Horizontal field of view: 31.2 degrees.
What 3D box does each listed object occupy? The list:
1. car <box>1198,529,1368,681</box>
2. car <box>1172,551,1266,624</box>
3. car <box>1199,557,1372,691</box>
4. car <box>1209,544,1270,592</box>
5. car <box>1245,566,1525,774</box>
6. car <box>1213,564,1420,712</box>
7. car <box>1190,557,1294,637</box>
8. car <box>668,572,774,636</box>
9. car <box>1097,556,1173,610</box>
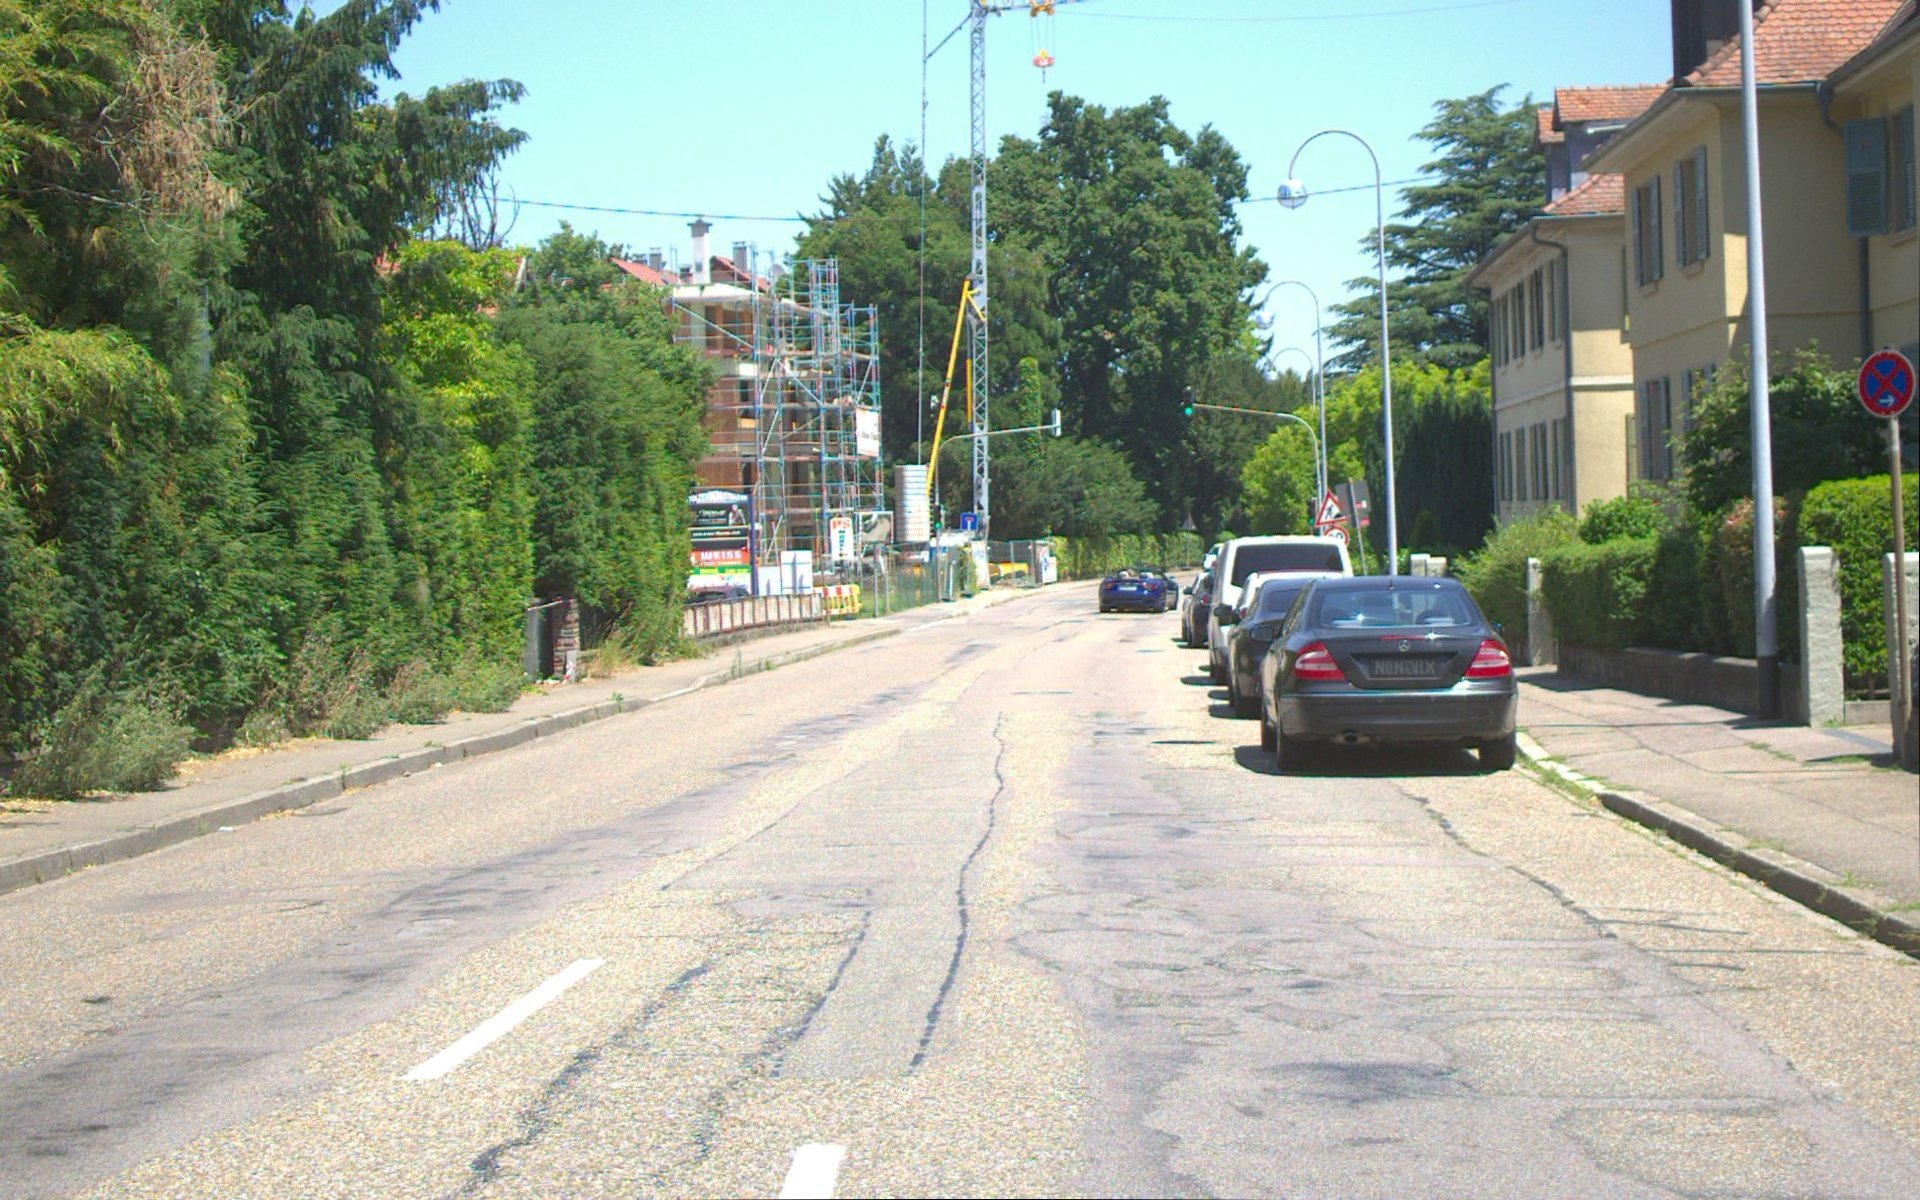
[{"bbox_3d":[4.240,0.035,45.760,1.994,1.894,4.822,1,1,3],"label":"car"},{"bbox_3d":[5.363,-0.273,71.574,1.761,1.446,3.889,-1,1,2],"label":"car"},{"bbox_3d":[3.766,0.247,40.229,1.761,1.446,3.648,-1,1,2],"label":"car"},{"bbox_3d":[10.192,-1.186,125.151,1.994,1.656,3.999,-2,0,7],"label":"car"},{"bbox_3d":[3.136,0.475,26.113,1.693,1.414,4.550,-1,0,2],"label":"car"},{"bbox_3d":[3.594,0.346,35.297,1.761,1.366,4.607,-1,1,2],"label":"car"},{"bbox_3d":[5.351,-0.083,65.649,1.761,1.446,3.839,-1,1,2],"label":"car"},{"bbox_3d":[-5.511,0.075,79.708,1.660,1.384,3.533,-2,0,9],"label":"car"},{"bbox_3d":[5.201,-0.528,101.784,1.959,1.463,3.999,-1,1,6],"label":"car"}]
